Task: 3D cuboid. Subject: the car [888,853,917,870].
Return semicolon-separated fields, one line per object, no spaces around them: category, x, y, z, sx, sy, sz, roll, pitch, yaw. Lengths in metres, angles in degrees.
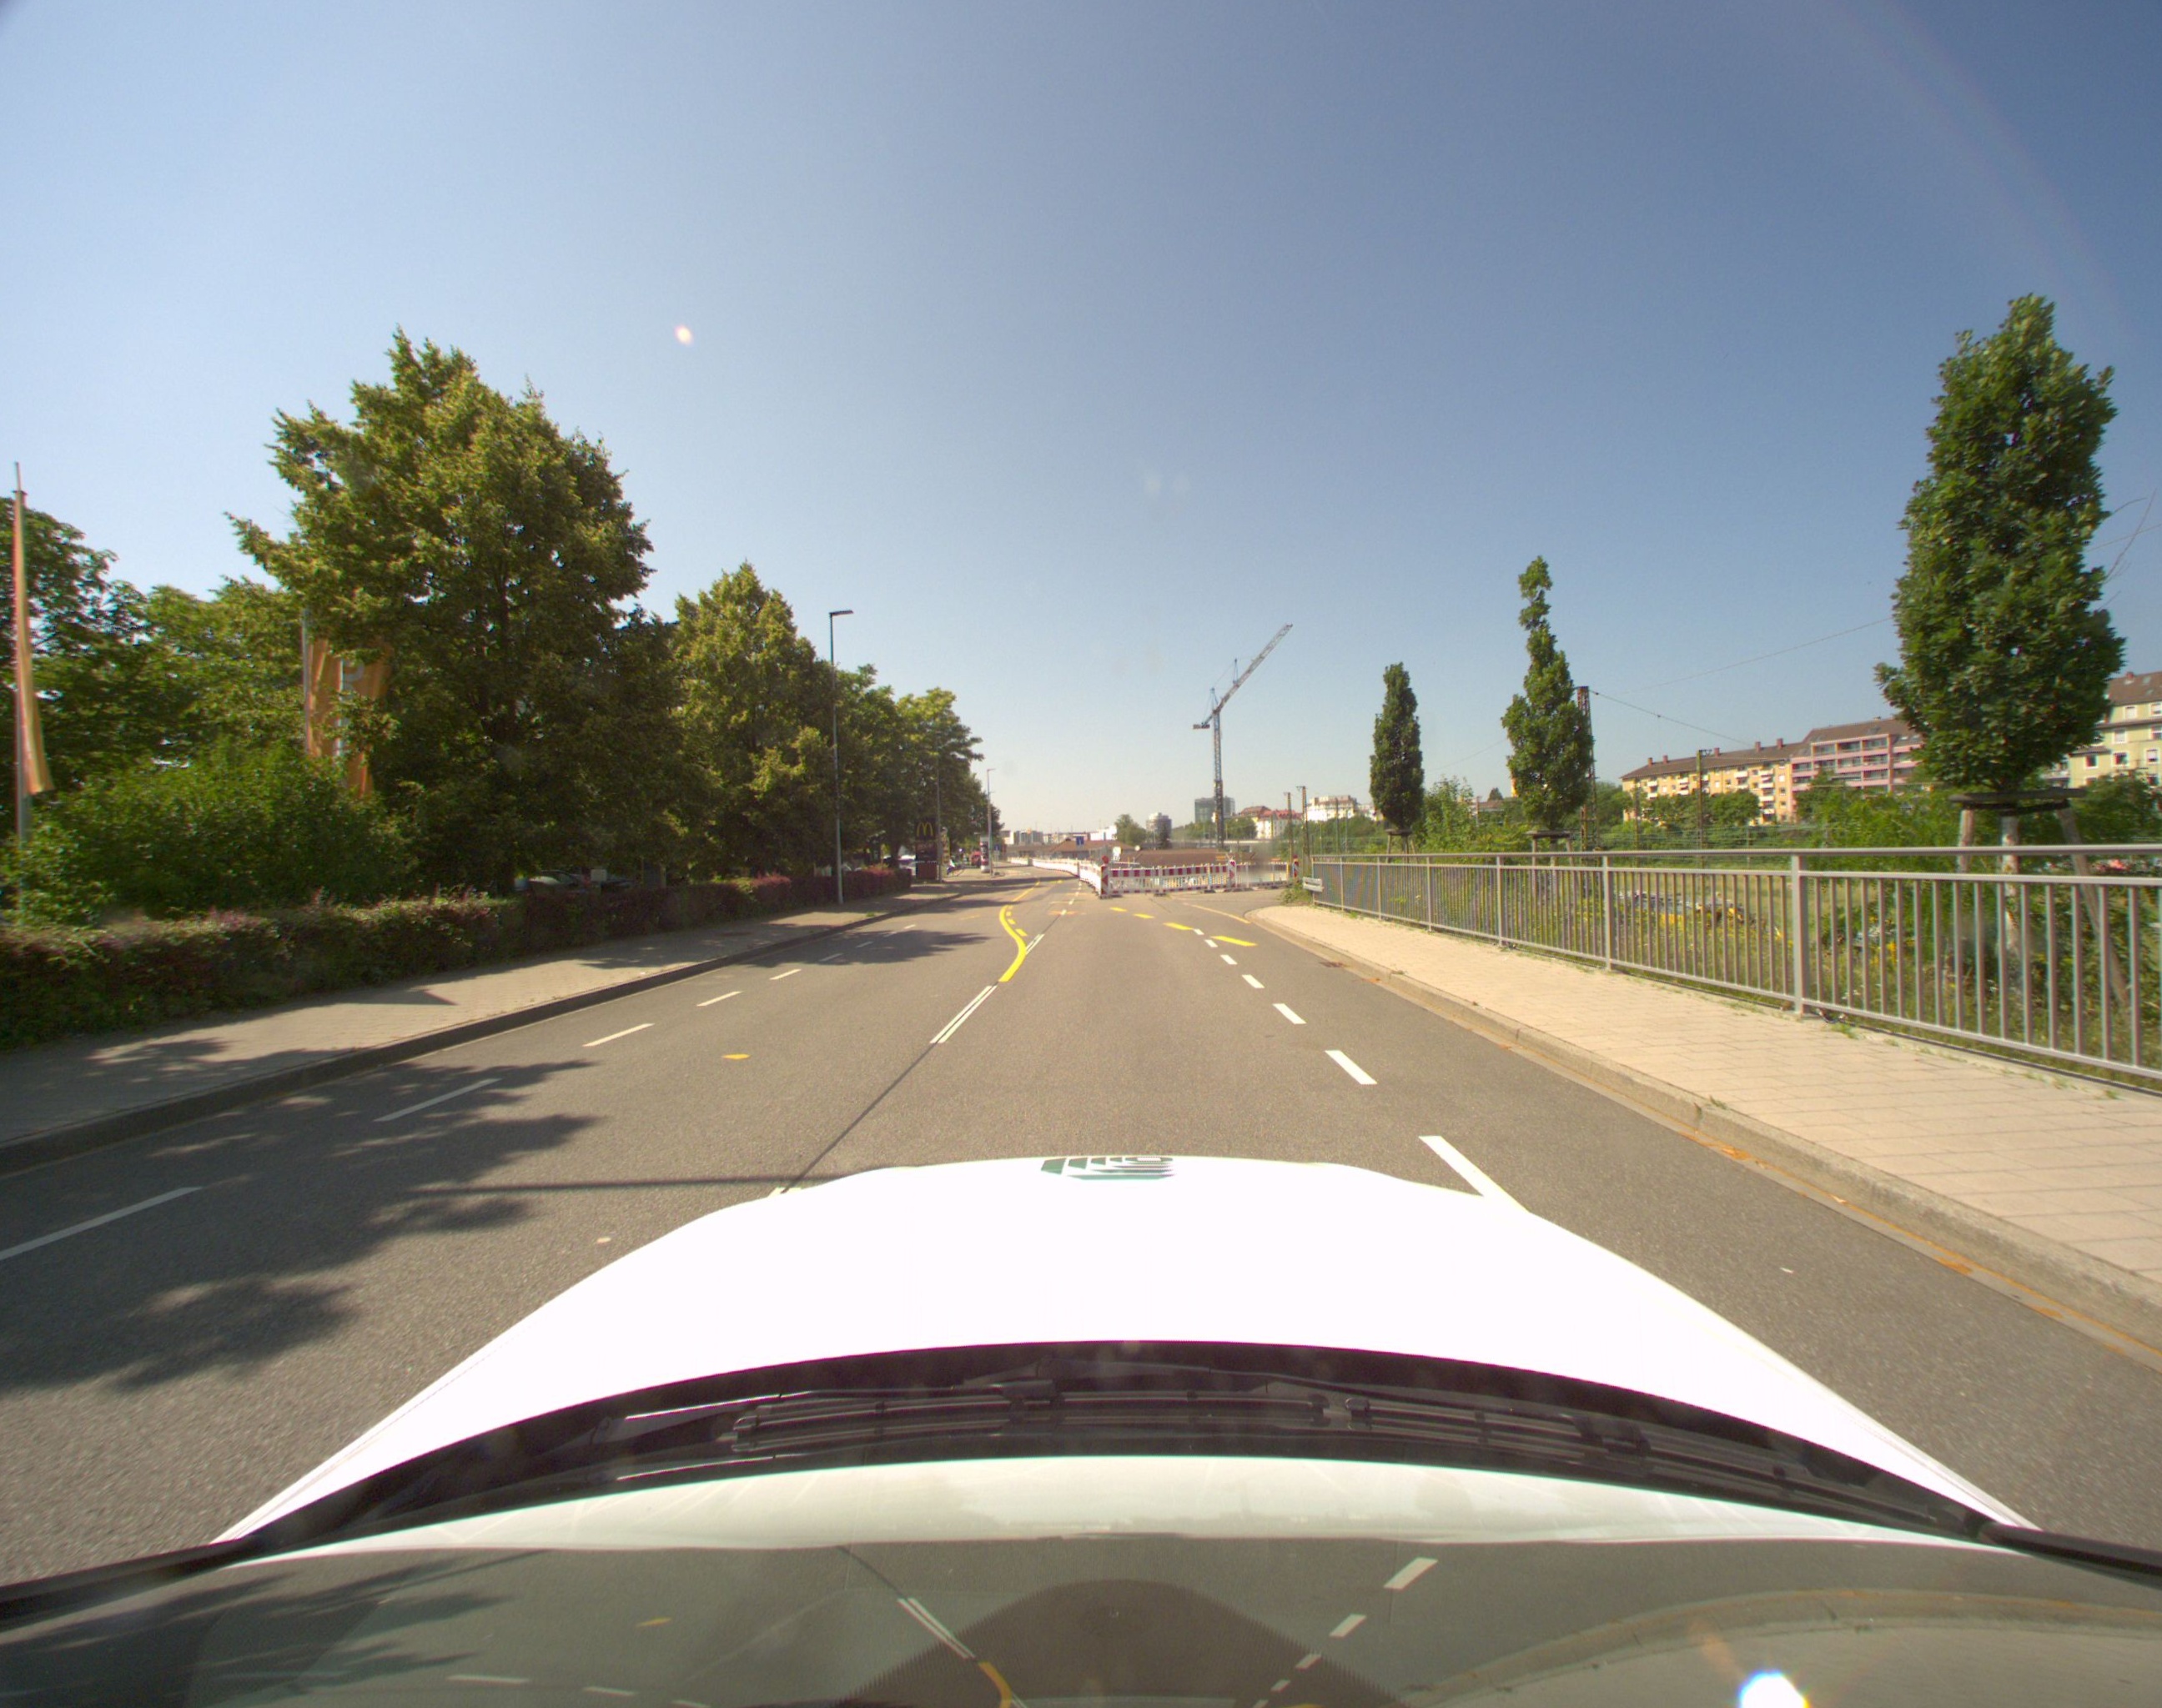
car;-21.193;0.893;96.499;1.838;1.929;3.954;-1;0;-38

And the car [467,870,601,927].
car;-17.866;1.396;26.826;1.675;1.603;3.759;-2;0;3

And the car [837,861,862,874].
car;-26.380;1.541;92.613;1.579;1.421;3.647;-1;0;-35

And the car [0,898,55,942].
car;-36.234;2.202;26.010;4.002;1.338;1.574;-2;0;-21

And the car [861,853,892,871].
car;-23.469;0.954;93.366;2.009;1.904;3.955;-1;0;-36
